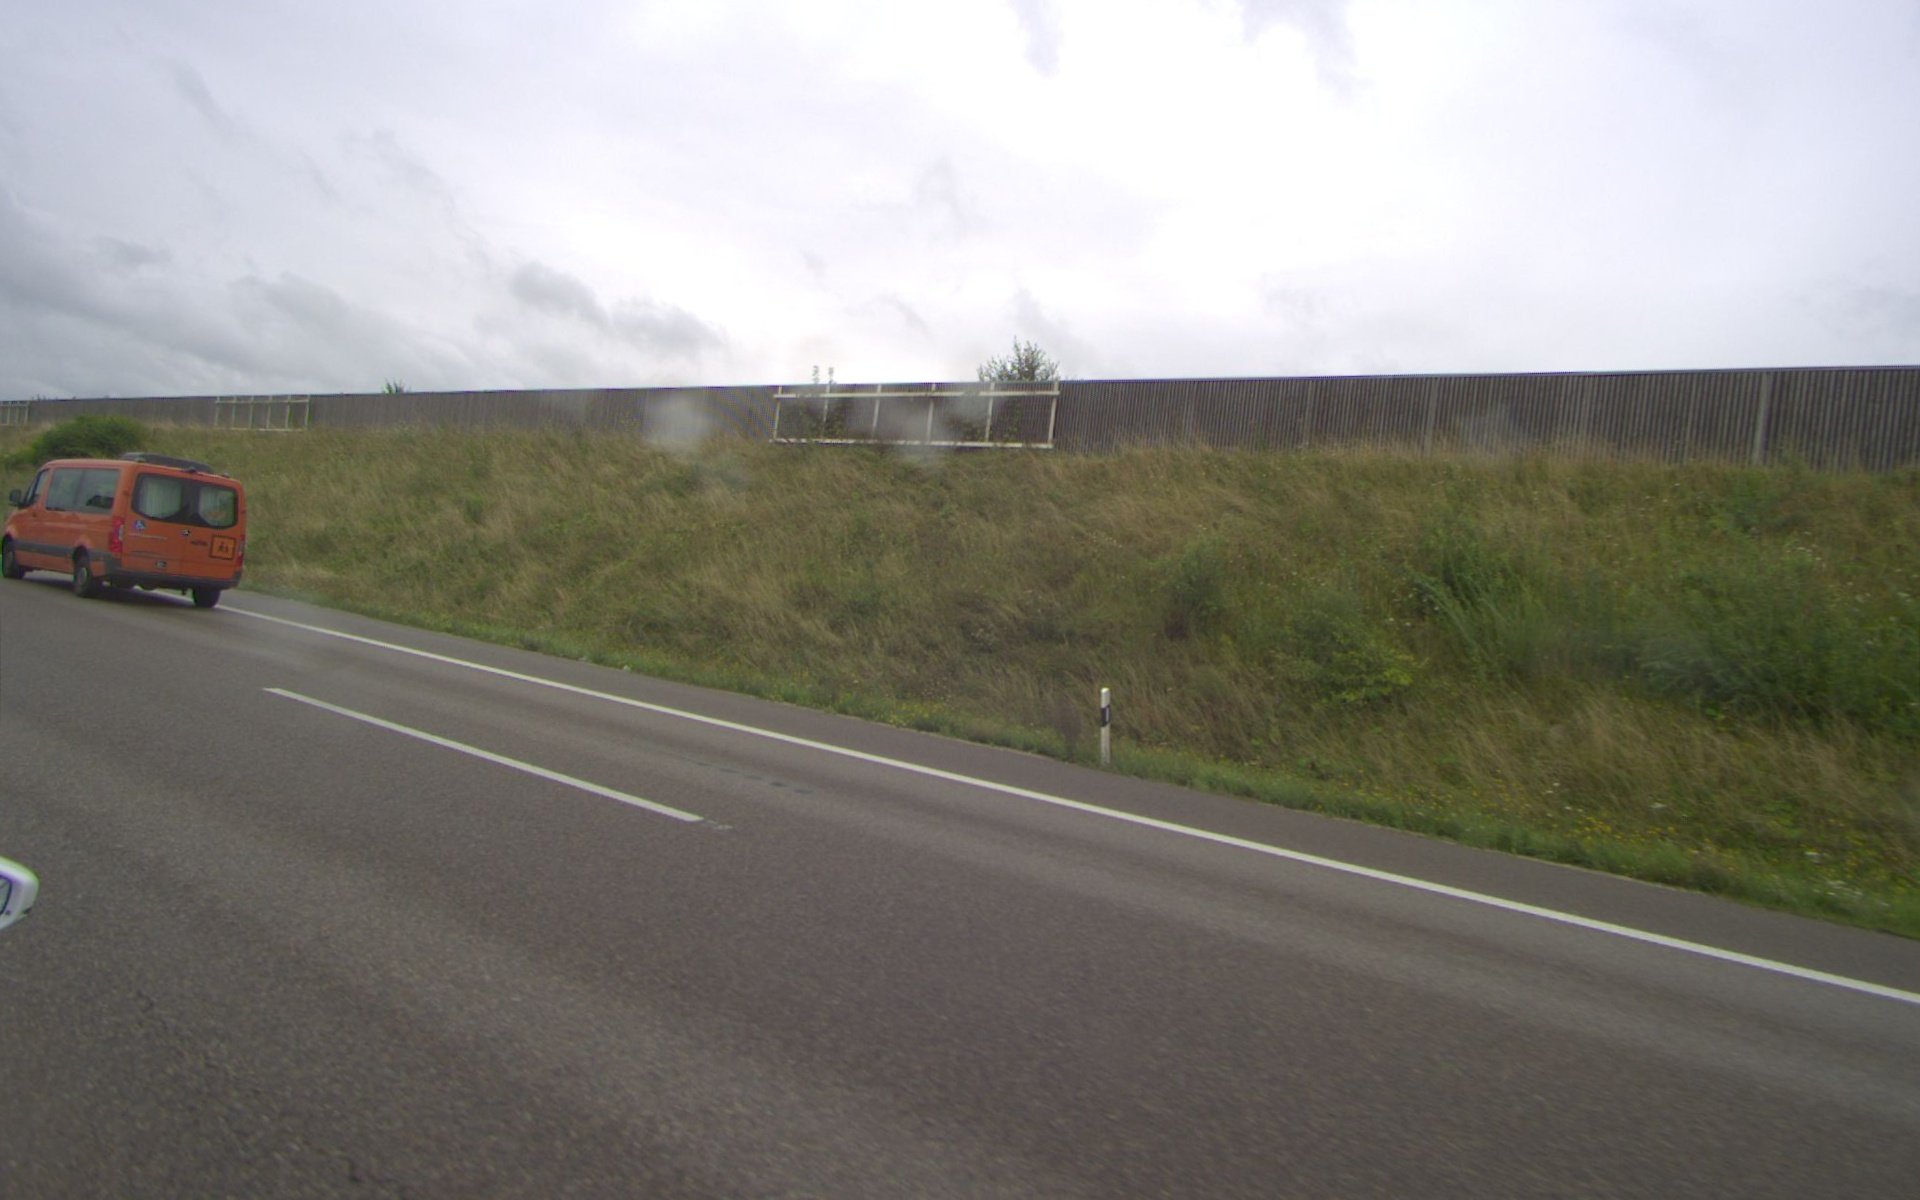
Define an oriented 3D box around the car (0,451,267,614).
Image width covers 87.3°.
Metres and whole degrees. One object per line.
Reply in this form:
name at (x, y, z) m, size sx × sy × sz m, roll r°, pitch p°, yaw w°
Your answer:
car at (-15.542, -1.315, 18.598) m, size 6.079 × 2.343 × 2.088 m, roll 7°, pitch 0°, yaw 32°
